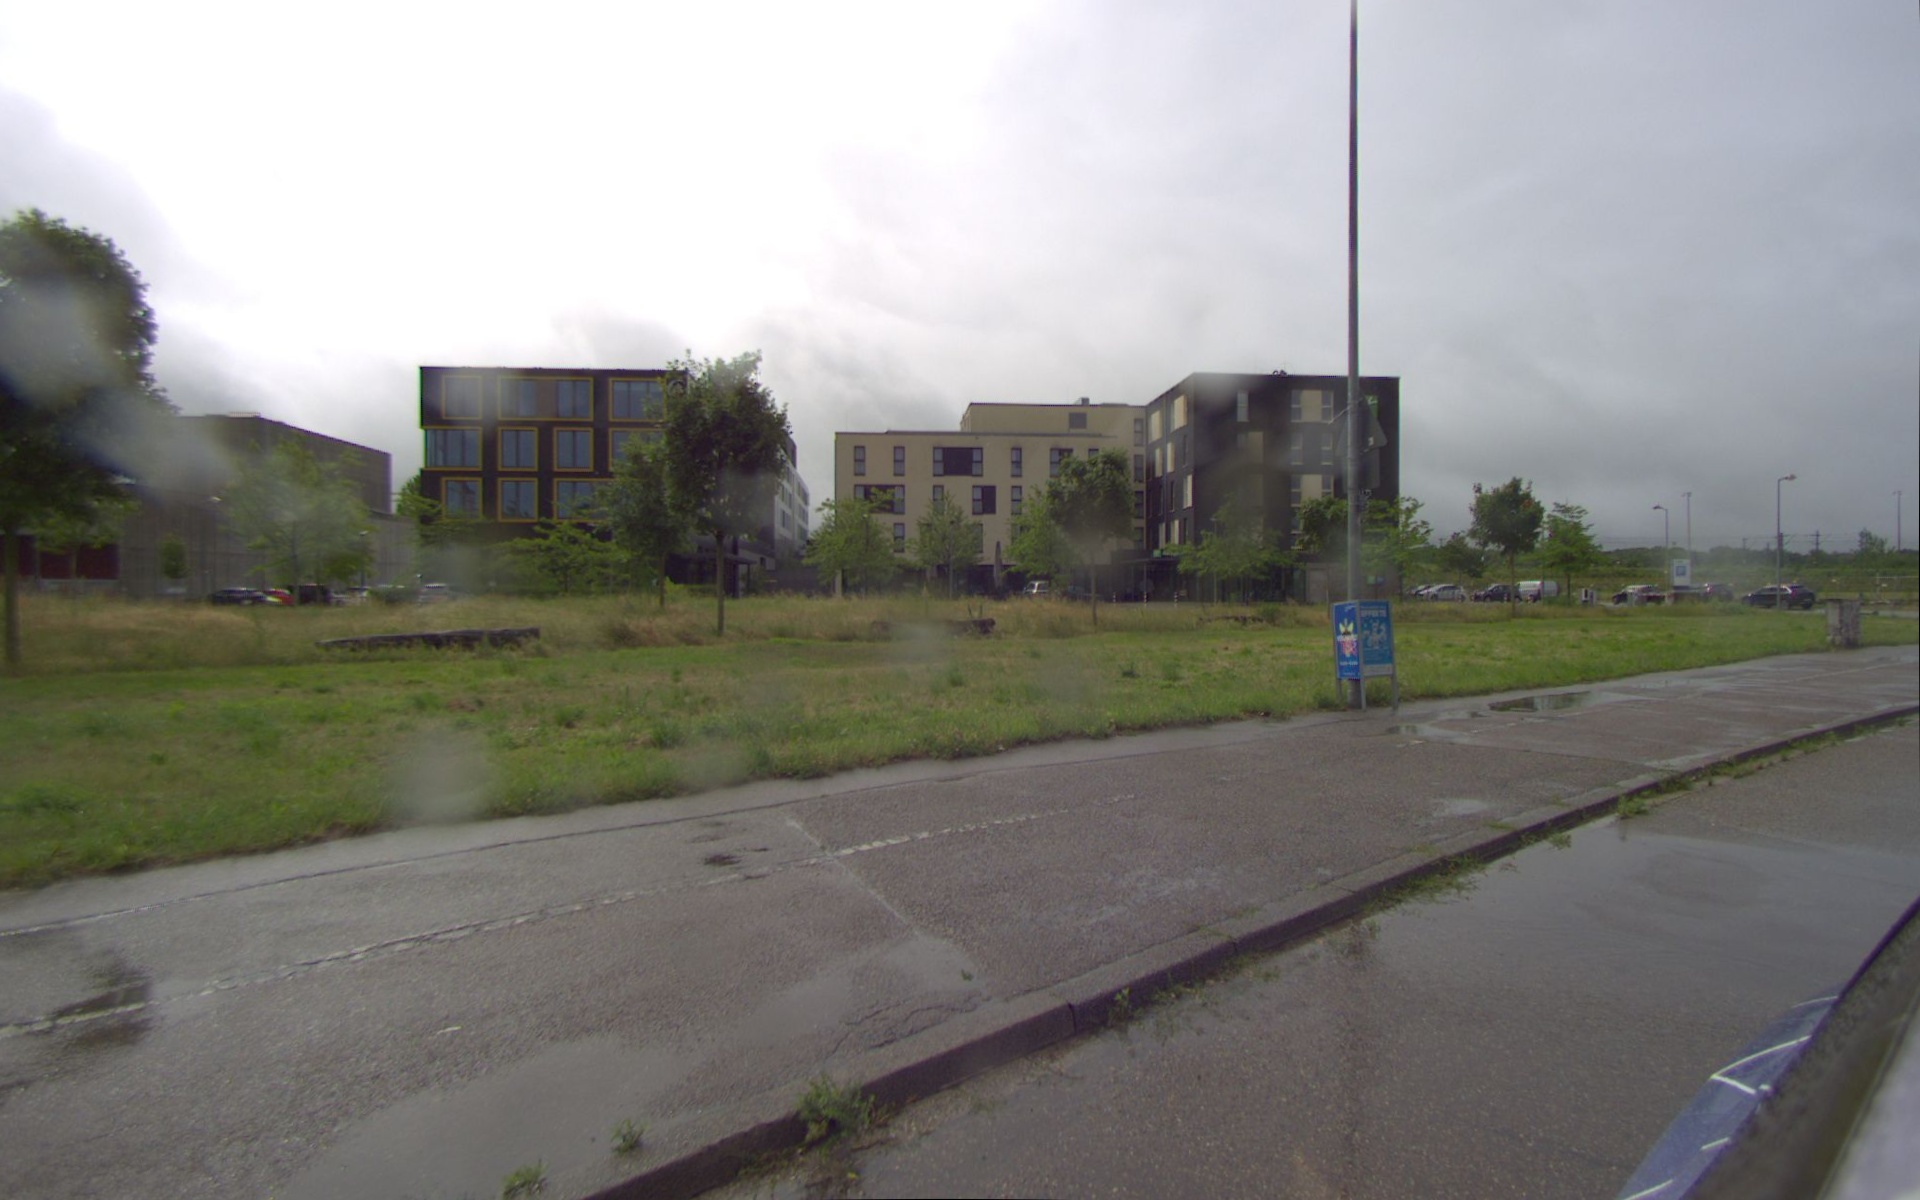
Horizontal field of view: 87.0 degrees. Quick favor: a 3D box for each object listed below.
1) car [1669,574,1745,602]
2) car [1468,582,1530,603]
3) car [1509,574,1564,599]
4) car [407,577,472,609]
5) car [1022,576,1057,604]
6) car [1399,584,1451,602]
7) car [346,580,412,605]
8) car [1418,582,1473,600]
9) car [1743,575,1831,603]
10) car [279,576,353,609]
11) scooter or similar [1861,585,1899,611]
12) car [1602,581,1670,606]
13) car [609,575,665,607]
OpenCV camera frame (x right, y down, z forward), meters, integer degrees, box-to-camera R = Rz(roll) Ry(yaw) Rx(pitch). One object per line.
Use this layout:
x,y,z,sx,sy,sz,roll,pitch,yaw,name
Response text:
52.094,-0.823,70.662,1.959,1.750,4.004,0,-3,-9,car
41.141,-0.548,77.345,3.765,1.548,1.787,0,-3,-6,car
50.031,-1.123,87.964,1.960,1.796,4.338,0,-4,-4,car
-29.626,-0.392,57.679,1.735,1.742,4.001,0,1,-1,car
4.747,-0.656,60.649,1.634,1.577,4.222,0,2,-2,car
40.018,-0.610,87.122,3.706,1.414,1.645,-1,-1,-5,car
-40.121,-0.542,69.978,1.961,1.612,4.791,0,1,-2,car
40.595,-0.742,84.650,3.731,1.414,1.769,0,-3,-6,car
52.705,-0.695,64.626,1.959,1.638,4.007,-3,1,-9,car
-35.596,-0.429,56.055,1.772,1.794,4.003,0,1,-3,car
45.189,-0.105,49.700,0.493,1.202,1.284,2,1,-35,scooter or similar
50.983,-0.464,76.403,1.959,1.663,4.004,0,-3,-9,car
-18.763,-0.532,59.019,1.961,1.784,4.559,0,1,-2,car
